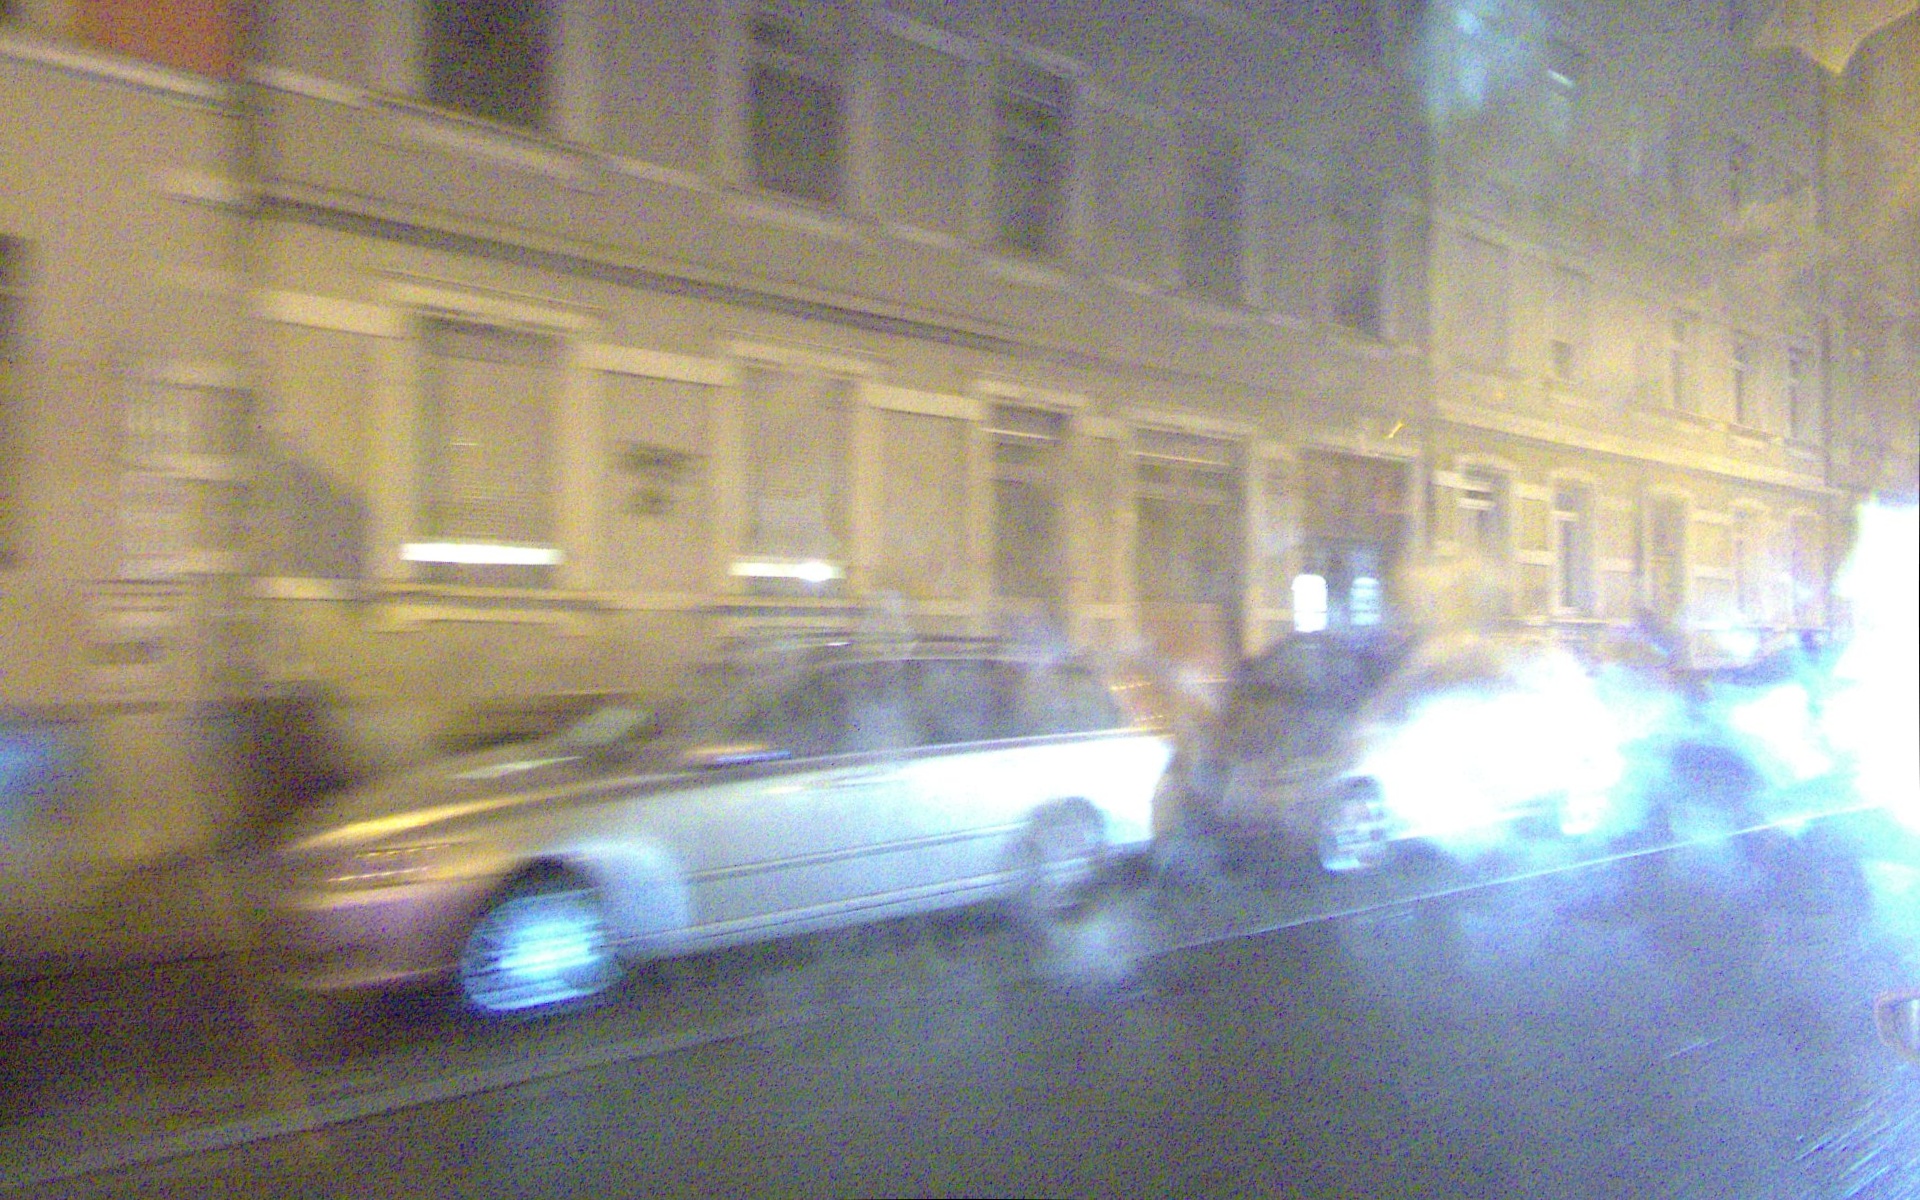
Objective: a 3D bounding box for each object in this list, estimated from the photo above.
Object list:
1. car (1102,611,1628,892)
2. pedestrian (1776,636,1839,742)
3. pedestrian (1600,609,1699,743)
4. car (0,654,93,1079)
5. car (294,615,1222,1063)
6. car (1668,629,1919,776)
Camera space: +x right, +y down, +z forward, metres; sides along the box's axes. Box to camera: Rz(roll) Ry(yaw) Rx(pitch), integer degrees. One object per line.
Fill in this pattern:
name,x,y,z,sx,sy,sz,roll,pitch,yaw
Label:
car,3.066,0.931,7.470,3.721,1.609,1.737,2,-2,-30
pedestrian,13.230,1.367,15.677,0.758,1.573,0.649,2,0,-44
pedestrian,9.878,1.071,14.395,0.974,1.828,0.740,2,0,-27
car,-5.170,0.854,2.400,4.374,1.408,1.813,2,-2,-31
car,-0.839,0.872,5.258,4.256,1.500,1.824,2,-2,-30
car,10.813,1.137,12.286,4.541,1.506,1.824,2,-2,-30
